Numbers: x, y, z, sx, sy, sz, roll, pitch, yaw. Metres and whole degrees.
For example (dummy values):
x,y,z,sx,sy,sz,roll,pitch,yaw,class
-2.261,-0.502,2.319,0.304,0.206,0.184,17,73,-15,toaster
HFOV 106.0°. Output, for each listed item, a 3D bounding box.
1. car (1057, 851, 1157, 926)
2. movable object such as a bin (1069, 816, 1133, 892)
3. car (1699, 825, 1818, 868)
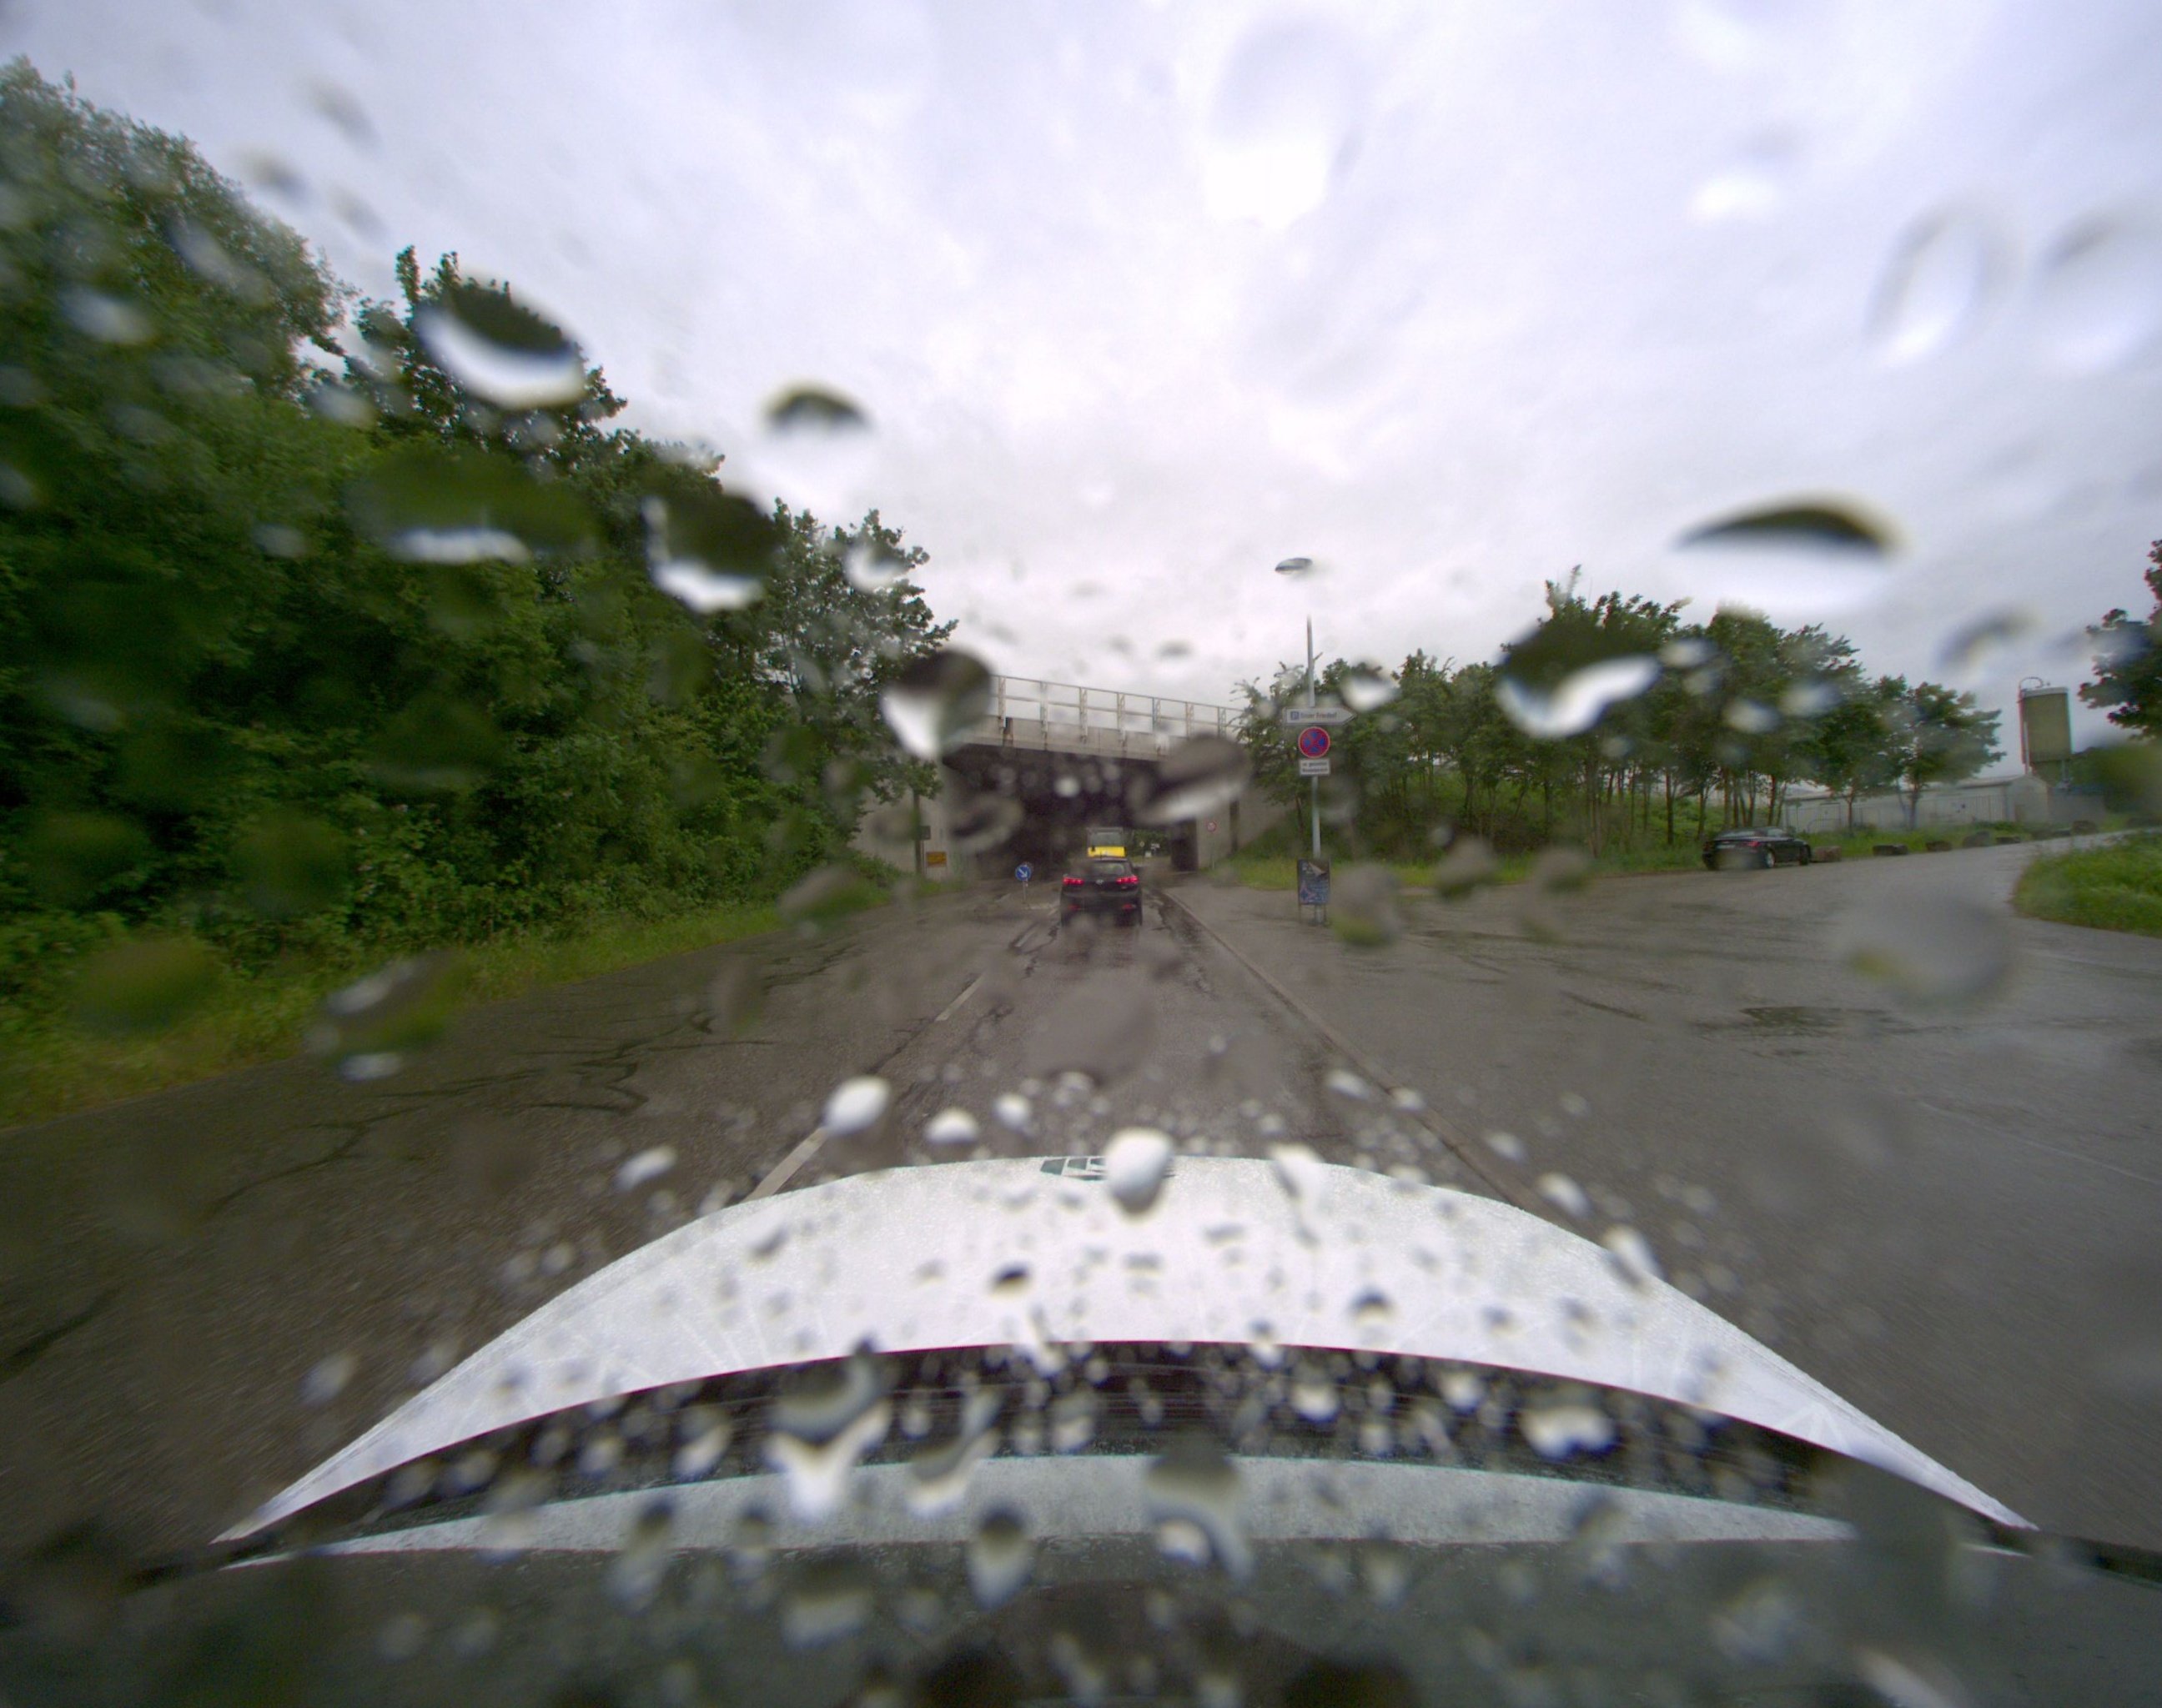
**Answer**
x,y,z,sx,sy,sz,roll,pitch,yaw,class
0.566,0.703,18.347,1.986,1.487,4.001,-1,0,1,car
0.764,0.004,32.096,2.238,2.669,6.628,-1,0,1,movable object such as a bin
22.725,-0.243,27.279,4.126,1.359,1.885,0,0,-32,car
